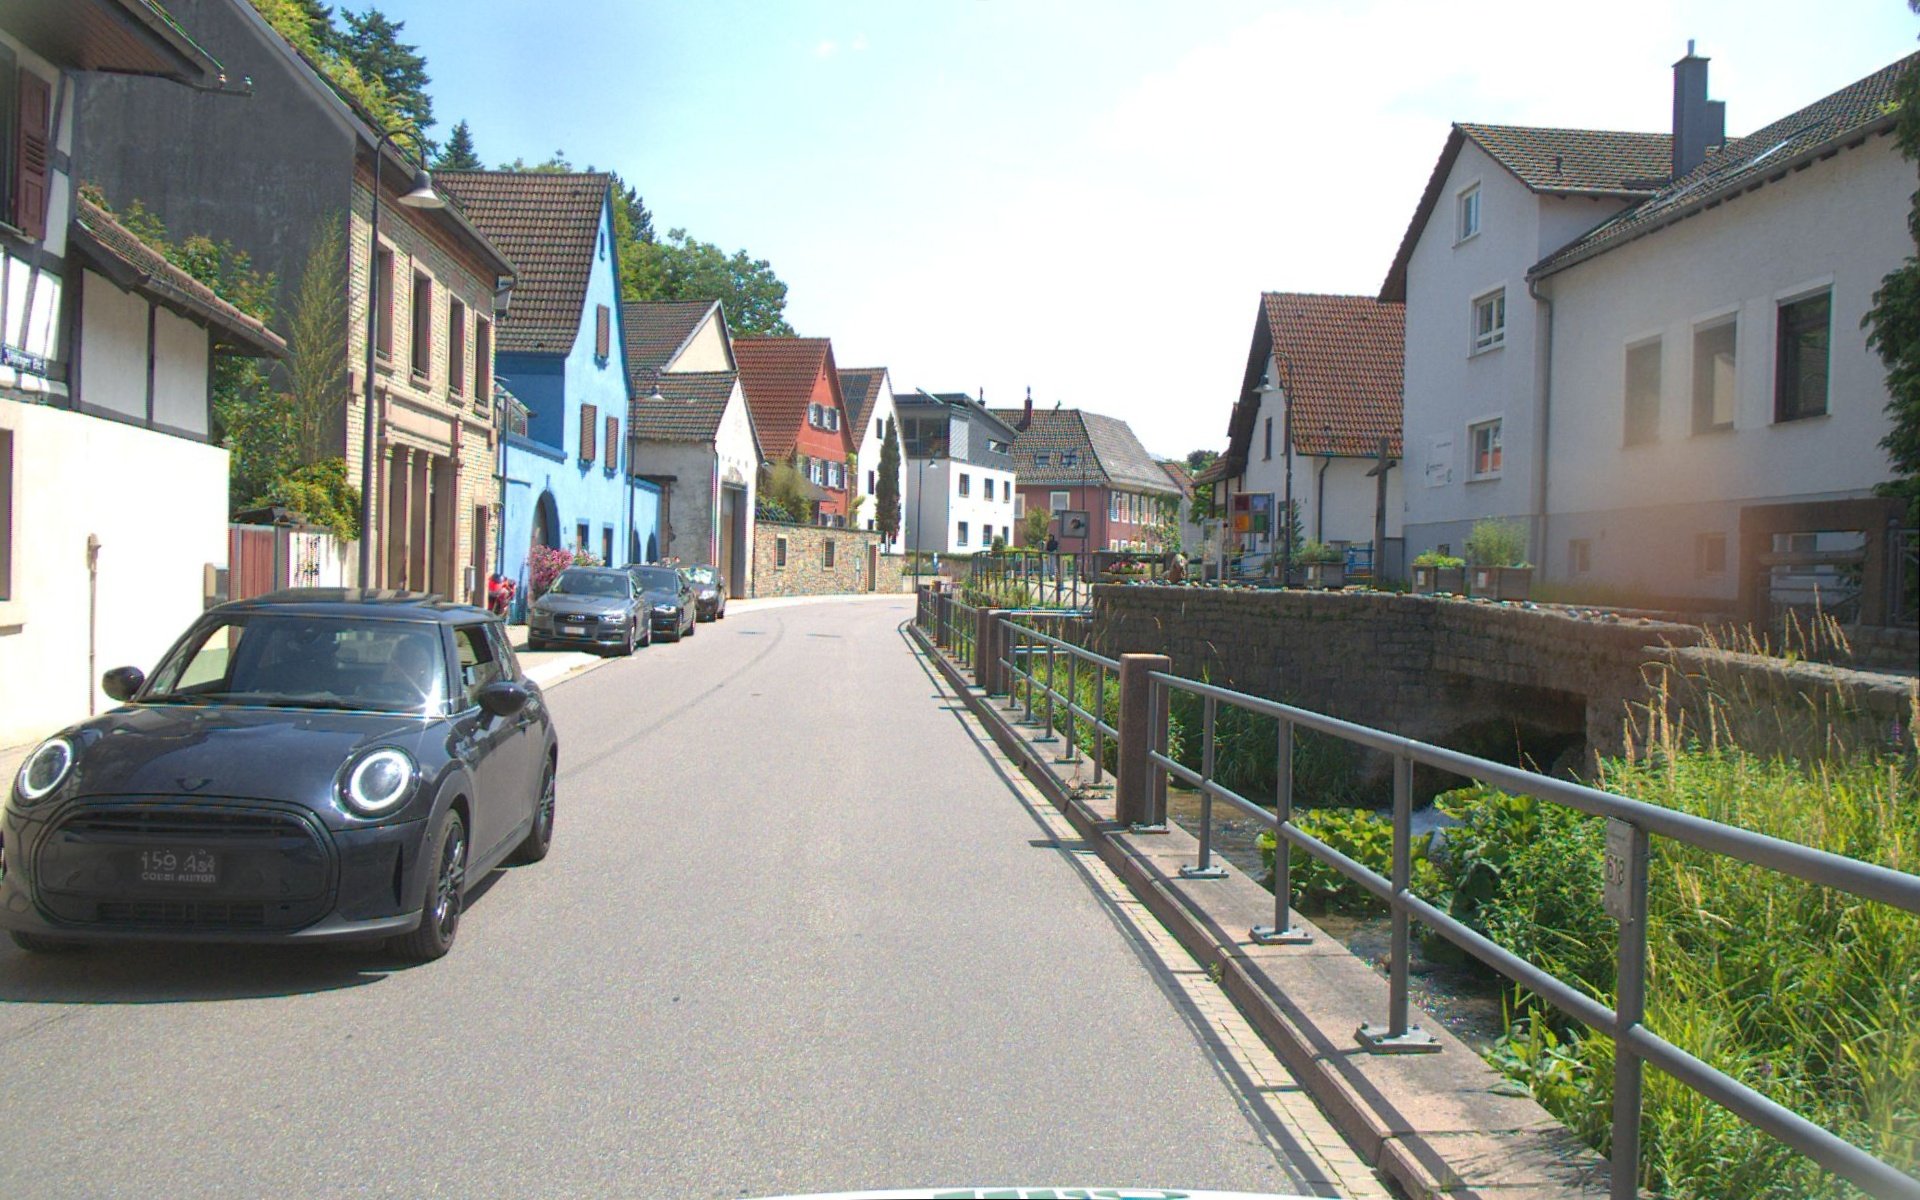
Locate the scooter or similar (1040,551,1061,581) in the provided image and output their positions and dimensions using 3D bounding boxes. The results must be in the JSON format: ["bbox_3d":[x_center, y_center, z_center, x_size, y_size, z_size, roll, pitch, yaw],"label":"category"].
[{"bbox_3d":[3.603,-1.347,65.657,0.628,1.162,1.810,0,1,-3],"label":"scooter or similar"}]

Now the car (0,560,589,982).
[{"bbox_3d":[-2.971,0.618,8.118,1.666,1.491,4.430,1,0,-6],"label":"car"}]

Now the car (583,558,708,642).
[{"bbox_3d":[-6.572,-0.058,35.051,1.848,1.489,4.667,5,2,-3],"label":"car"}]

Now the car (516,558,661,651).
[{"bbox_3d":[-6.634,0.056,29.999,1.918,1.491,4.541,2,0,-5],"label":"car"}]

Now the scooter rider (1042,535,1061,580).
[{"bbox_3d":[3.627,-1.675,65.791,0.628,1.762,0.554,2,0,-4],"label":"scooter rider"}]

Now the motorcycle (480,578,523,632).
[{"bbox_3d":[-9.149,0.084,33.076,0.410,1.018,1.856,6,0,-5],"label":"motorcycle"}]

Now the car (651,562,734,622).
[{"bbox_3d":[-7.271,-0.239,45.231,1.682,1.556,3.856,1,1,-1],"label":"car"}]
